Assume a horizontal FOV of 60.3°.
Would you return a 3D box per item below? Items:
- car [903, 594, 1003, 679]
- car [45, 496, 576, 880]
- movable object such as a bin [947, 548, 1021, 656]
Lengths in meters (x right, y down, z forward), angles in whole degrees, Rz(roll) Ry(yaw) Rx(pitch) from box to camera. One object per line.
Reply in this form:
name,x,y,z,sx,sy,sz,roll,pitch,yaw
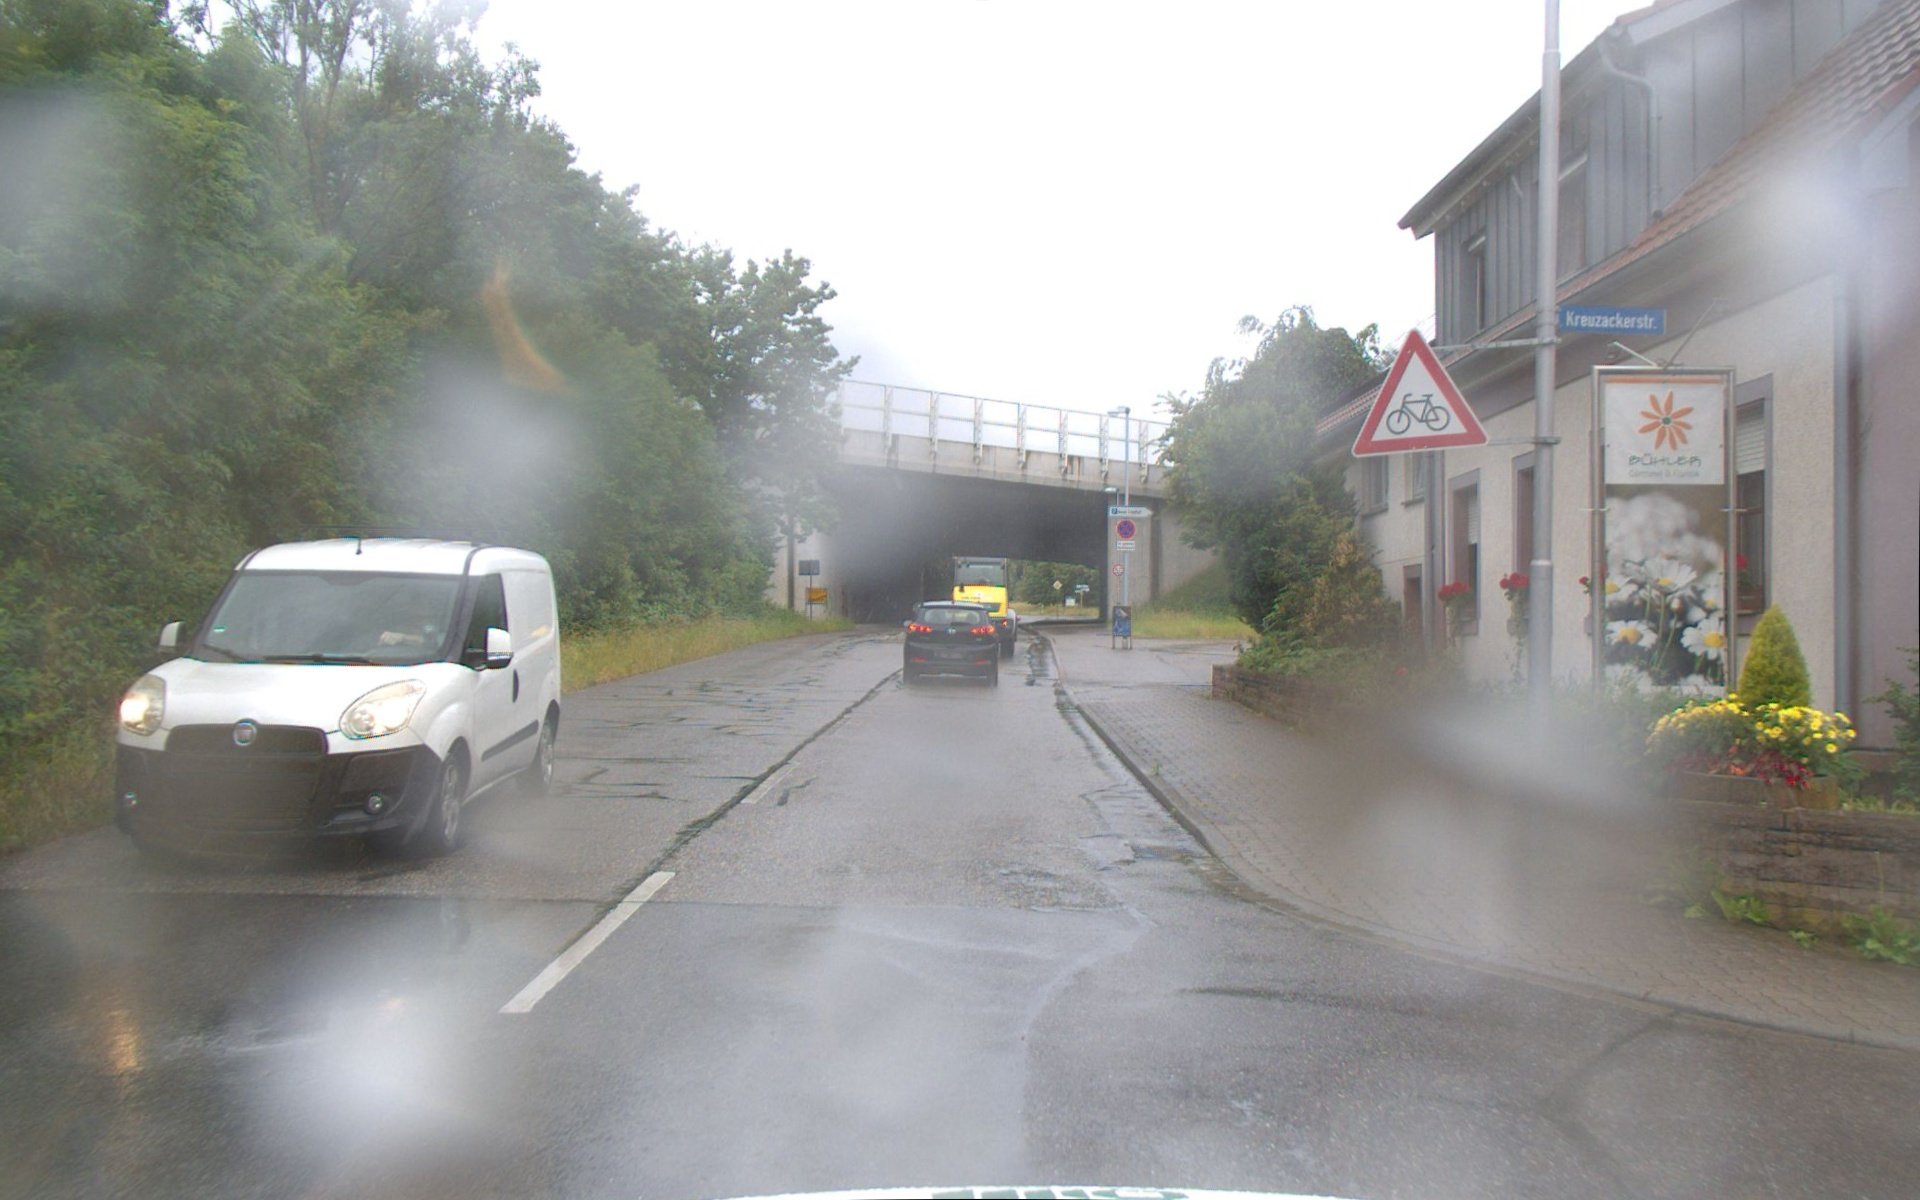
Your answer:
car,-0.093,0.643,30.507,1.673,1.401,4.000,2,0,1
car,-3.702,0.450,10.342,1.787,1.864,4.304,1,0,-3
movable object such as a bin,0.612,0.061,42.634,1.725,2.592,4.239,2,0,1
